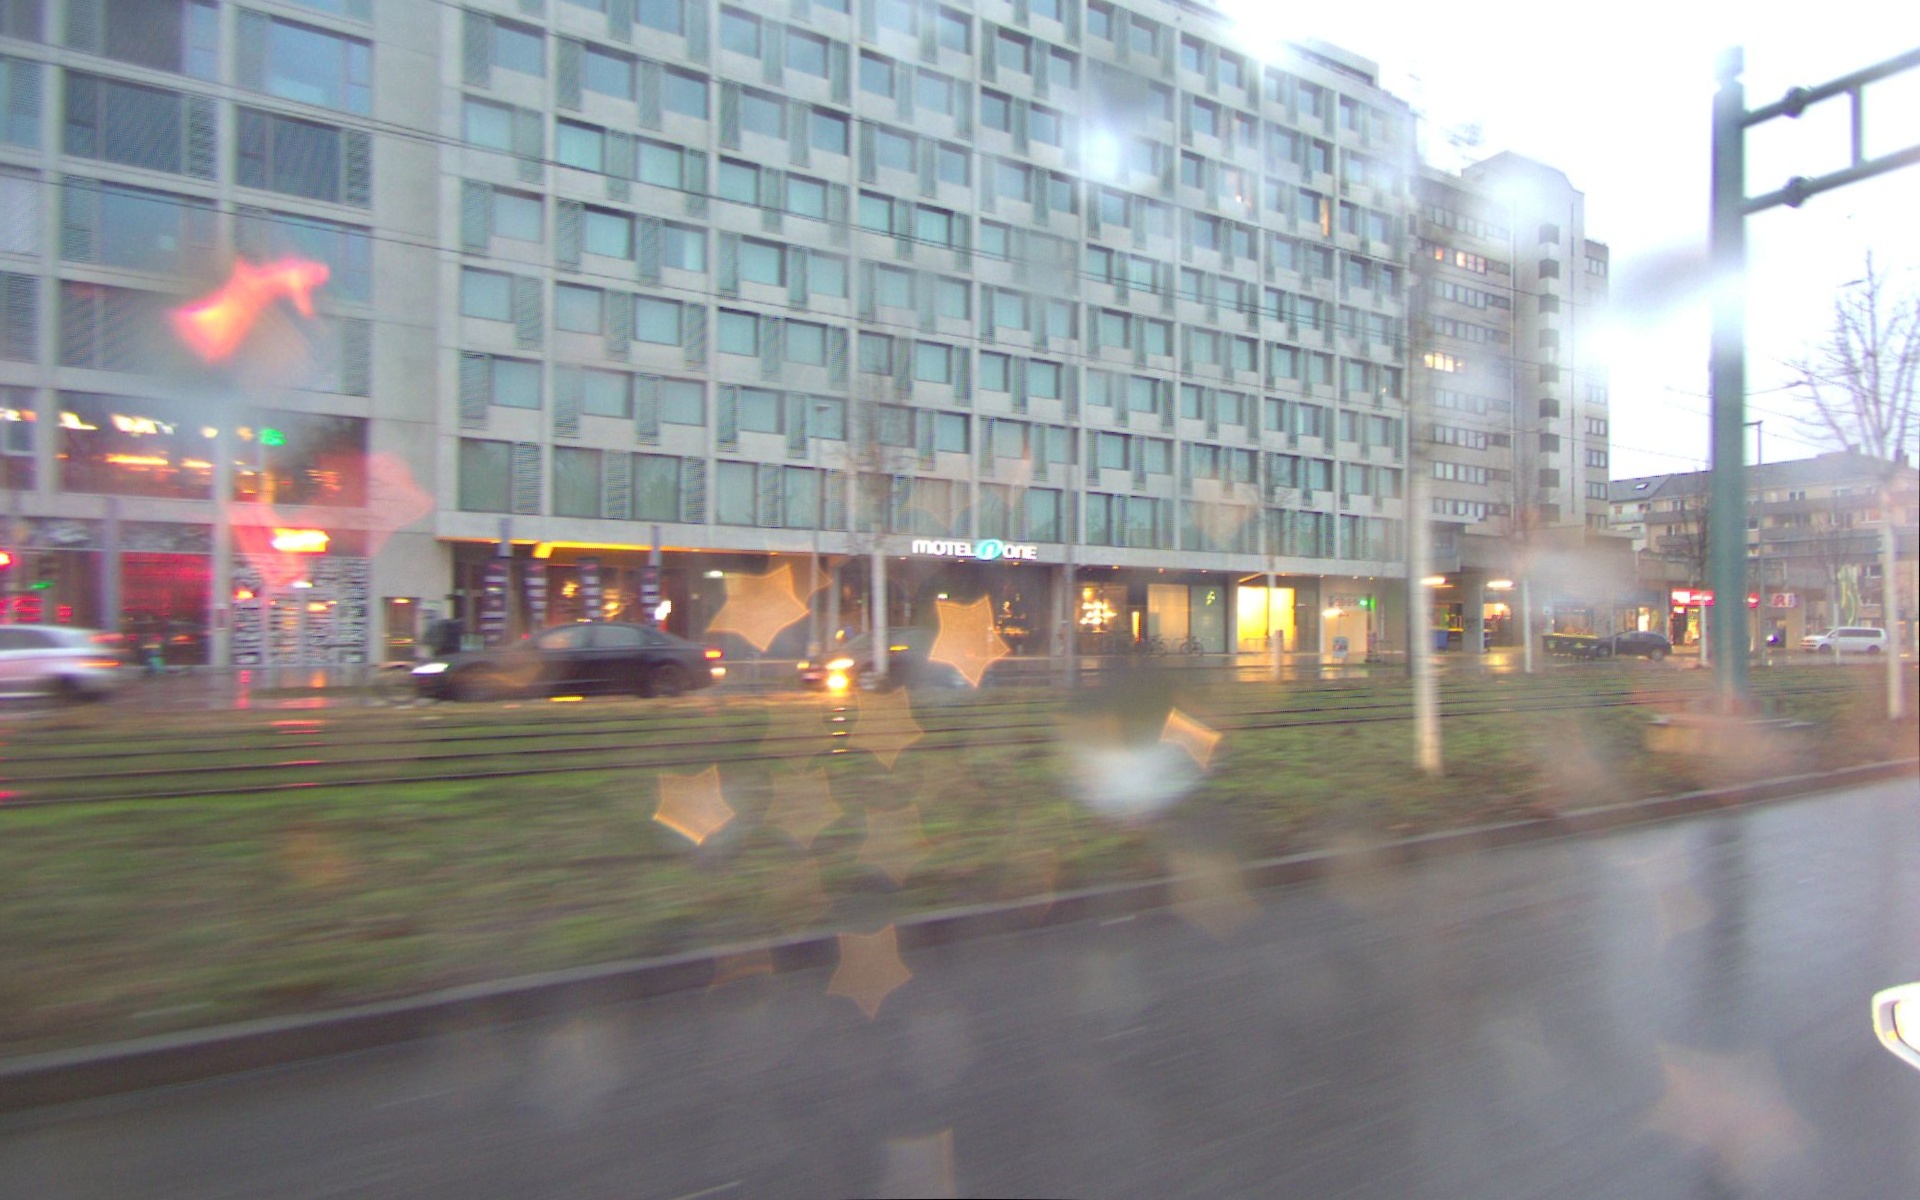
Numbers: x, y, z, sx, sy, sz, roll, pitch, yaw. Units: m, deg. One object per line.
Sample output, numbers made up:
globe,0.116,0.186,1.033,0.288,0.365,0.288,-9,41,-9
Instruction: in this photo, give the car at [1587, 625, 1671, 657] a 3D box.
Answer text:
car,39.396,2.376,59.270,3.744,1.821,1.910,0,-1,19

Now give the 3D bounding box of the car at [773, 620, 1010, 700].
car,-1.359,1.213,21.725,5.061,1.481,1.974,2,-1,-44

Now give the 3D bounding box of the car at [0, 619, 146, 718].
car,-18.714,1.296,19.548,4.123,1.813,1.874,1,0,-28

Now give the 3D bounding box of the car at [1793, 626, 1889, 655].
car,64.013,2.900,73.080,4.787,2.040,2.000,0,-1,19

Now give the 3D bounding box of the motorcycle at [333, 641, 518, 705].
motorcycle,-9.774,1.311,18.477,2.932,1.071,0.867,1,0,-30

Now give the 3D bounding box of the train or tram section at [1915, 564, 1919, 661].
train or tram section,39.868,0.507,38.126,9.050,3.550,2.829,1,-2,-30

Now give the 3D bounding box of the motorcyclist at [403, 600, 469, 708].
motorcyclist,-9.670,0.971,18.529,1.021,1.910,0.867,1,0,-30

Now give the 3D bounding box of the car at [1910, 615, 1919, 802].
car,9.881,0.917,8.390,4.202,1.489,1.751,1,0,-31

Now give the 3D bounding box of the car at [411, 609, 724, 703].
car,-7.024,0.958,18.142,5.035,1.481,1.984,1,0,-30
